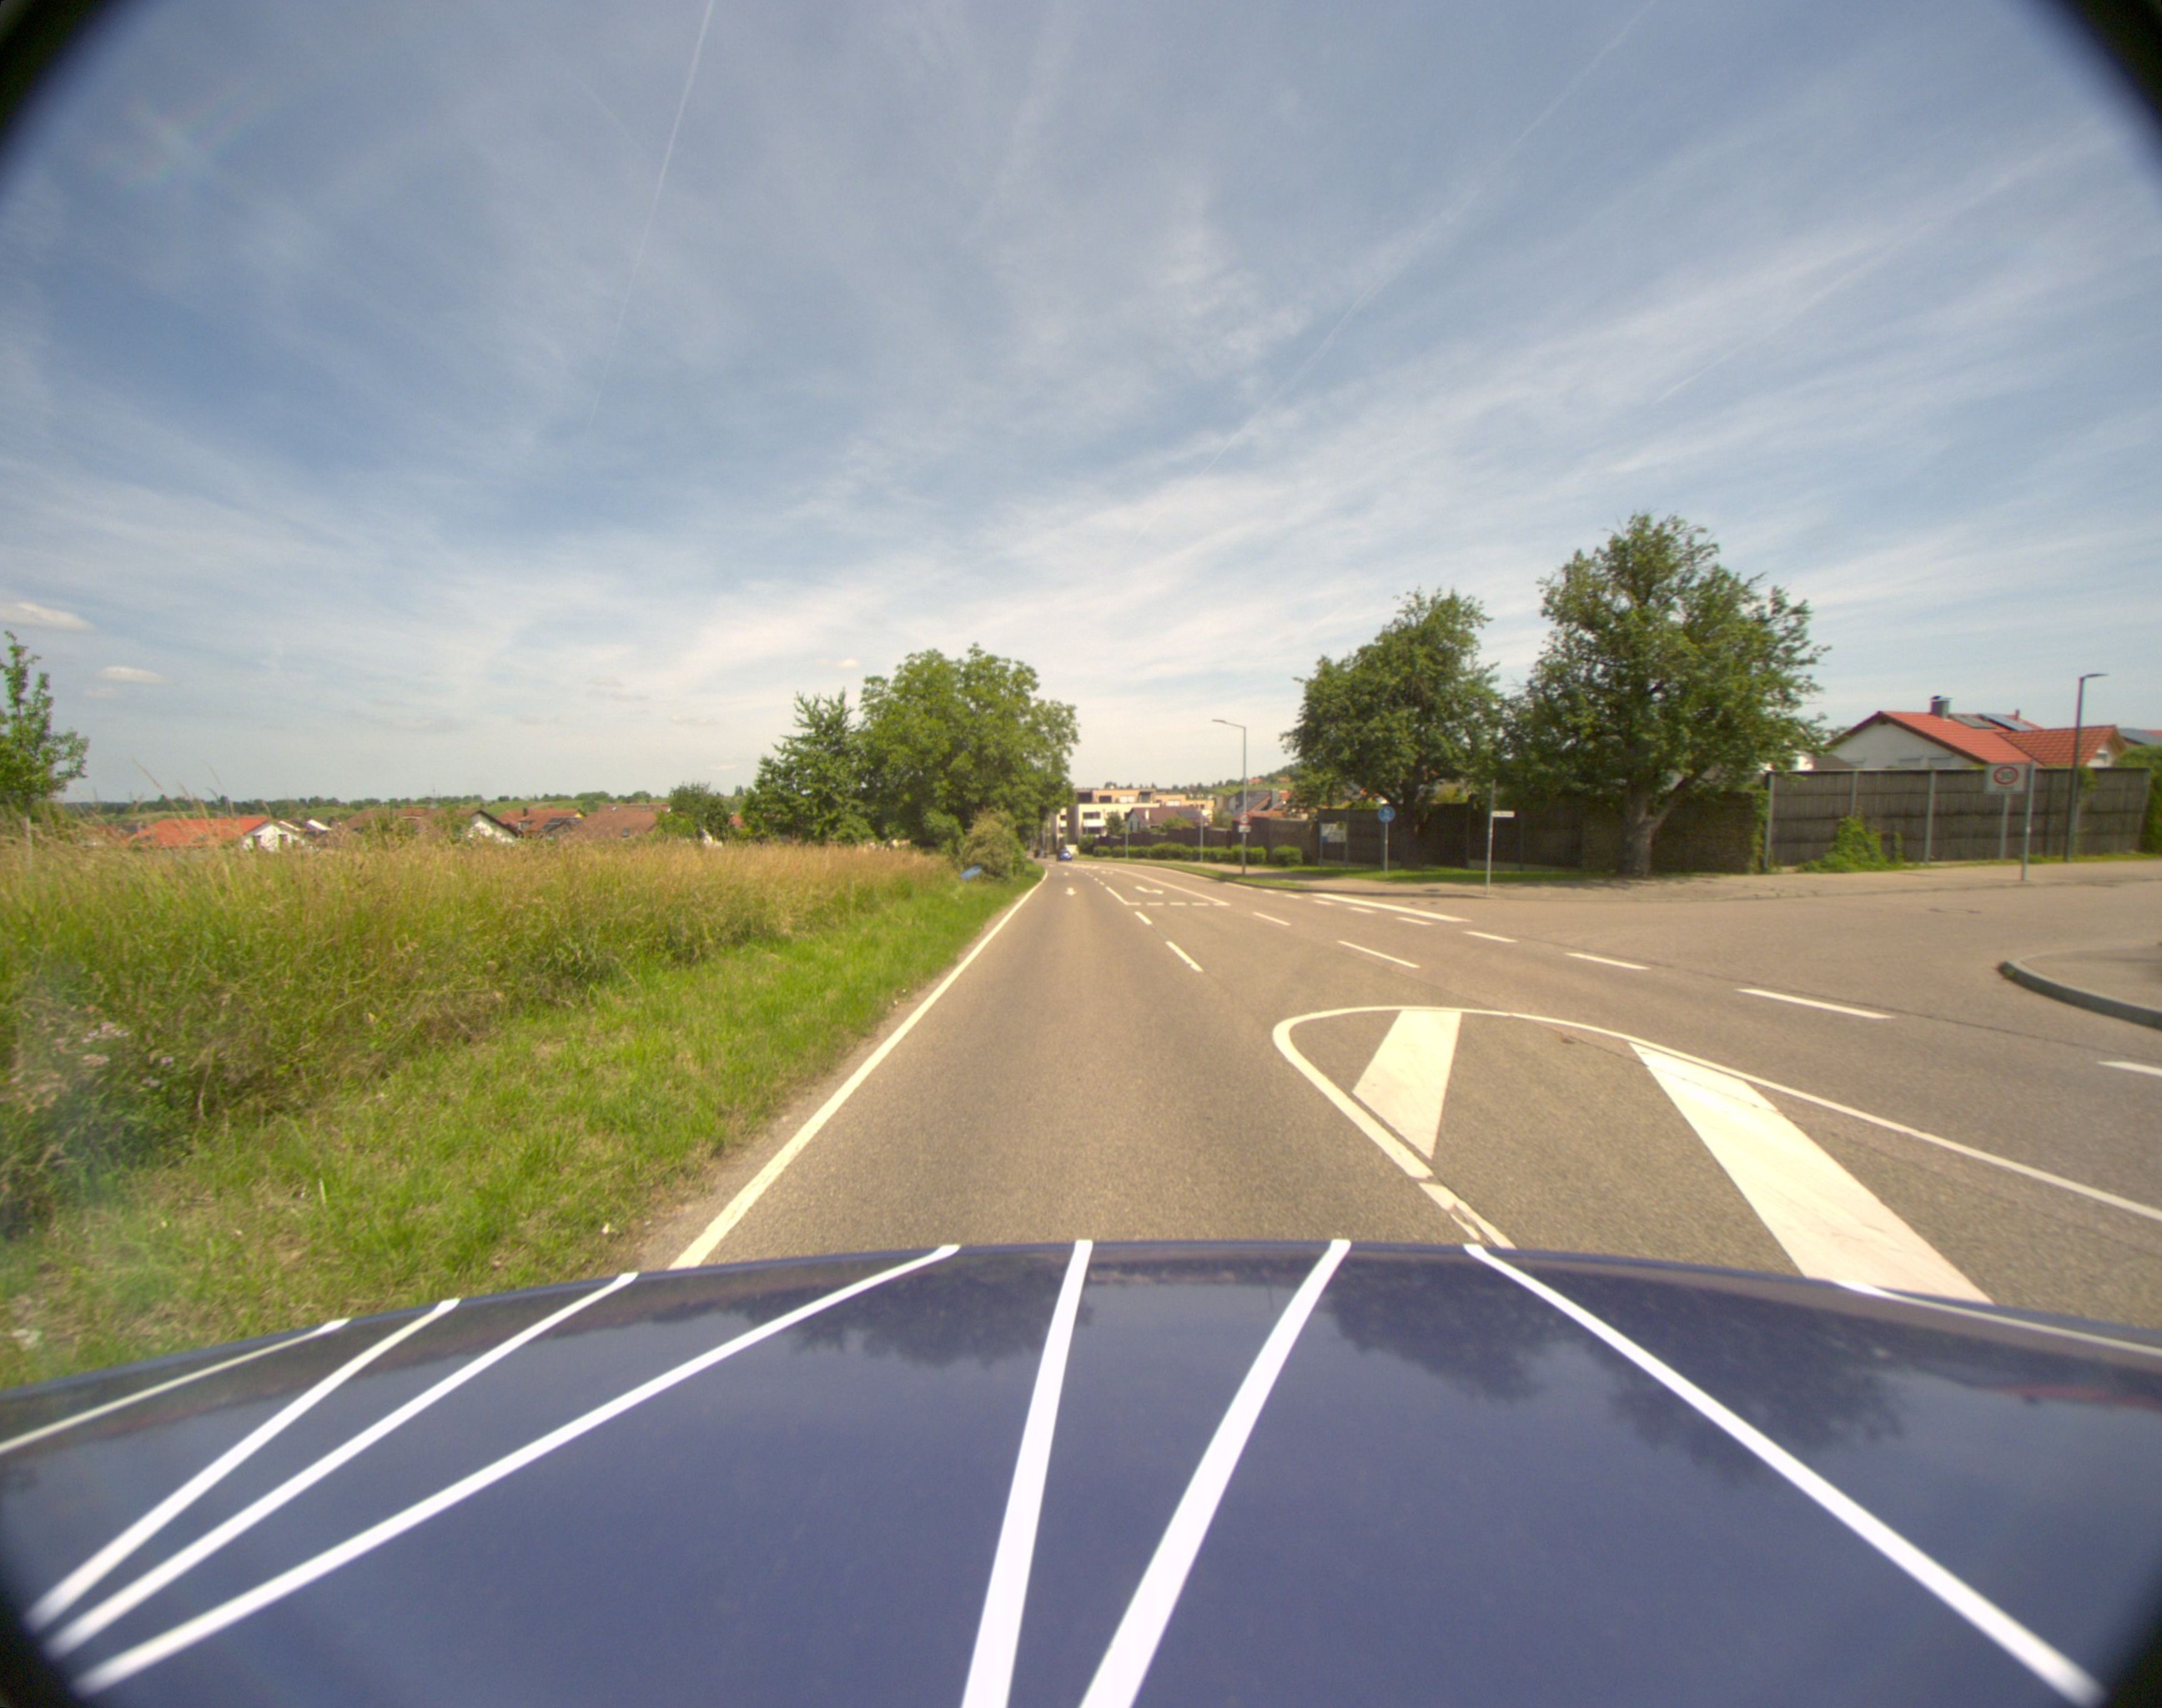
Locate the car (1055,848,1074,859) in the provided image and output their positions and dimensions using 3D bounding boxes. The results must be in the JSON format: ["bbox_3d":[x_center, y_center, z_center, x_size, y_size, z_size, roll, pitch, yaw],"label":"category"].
[{"bbox_3d":[-2.229,-0.054,102.597,1.614,1.483,3.843,-1,0,-15],"label":"car"}]

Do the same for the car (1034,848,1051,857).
[{"bbox_3d":[-6.570,-0.283,128.743,1.831,1.572,3.993,-1,1,-17],"label":"car"}]
